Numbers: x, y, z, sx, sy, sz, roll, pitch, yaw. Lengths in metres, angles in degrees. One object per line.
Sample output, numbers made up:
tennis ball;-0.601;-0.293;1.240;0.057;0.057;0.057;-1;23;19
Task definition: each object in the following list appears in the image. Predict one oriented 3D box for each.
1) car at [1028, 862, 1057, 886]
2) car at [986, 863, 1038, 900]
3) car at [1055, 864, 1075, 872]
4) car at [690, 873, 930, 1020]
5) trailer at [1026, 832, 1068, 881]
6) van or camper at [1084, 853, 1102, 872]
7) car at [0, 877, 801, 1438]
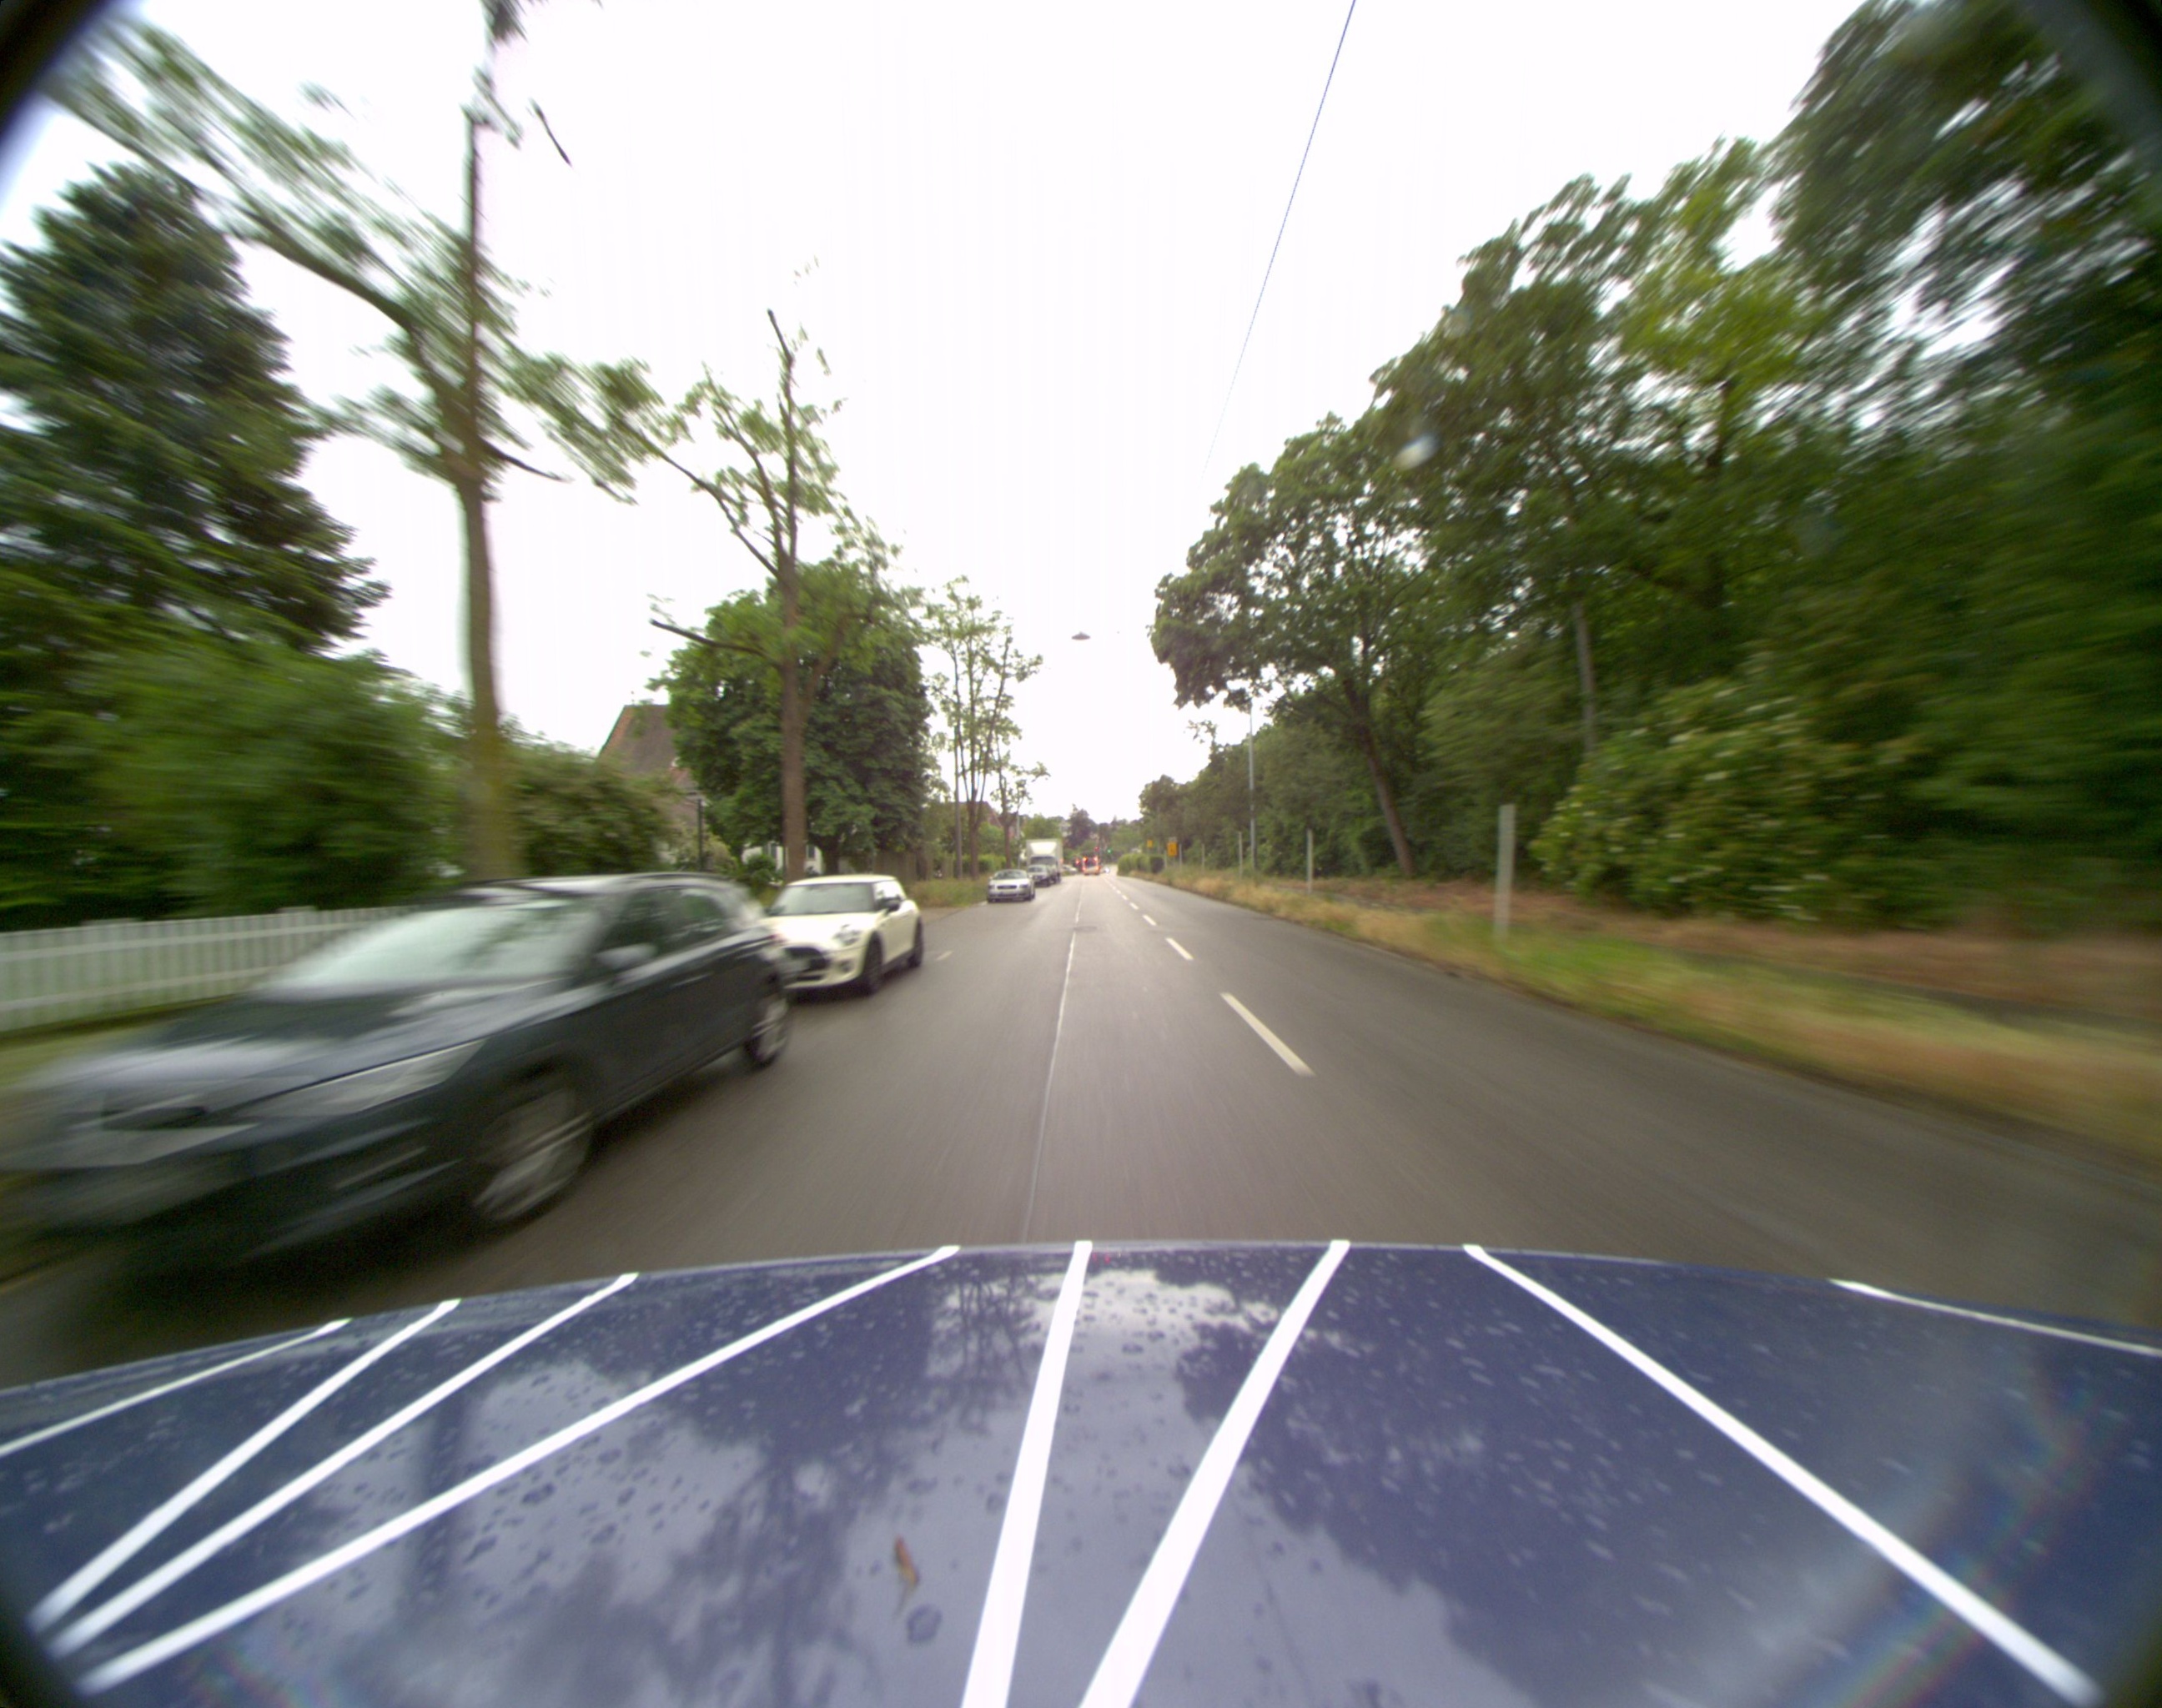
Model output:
car;-2.523;1.270;50.400;1.645;1.455;4.000;-3;-1;1
car;-2.843;1.096;31.898;1.786;1.387;4.000;-3;-1;0
car;-4.143;3.642;197.482;5.049;1.966;2.001;-3;0;5
car;-3.301;1.047;10.072;1.742;1.456;3.725;-3;-1;1
trailer;-2.567;0.245;59.801;2.741;3.487;8.248;-3;-1;0
van or camper;2.195;1.550;135.287;2.862;3.159;6.852;-3;-1;3
car;-3.236;0.982;4.293;1.683;1.546;4.076;-3;-1;1
